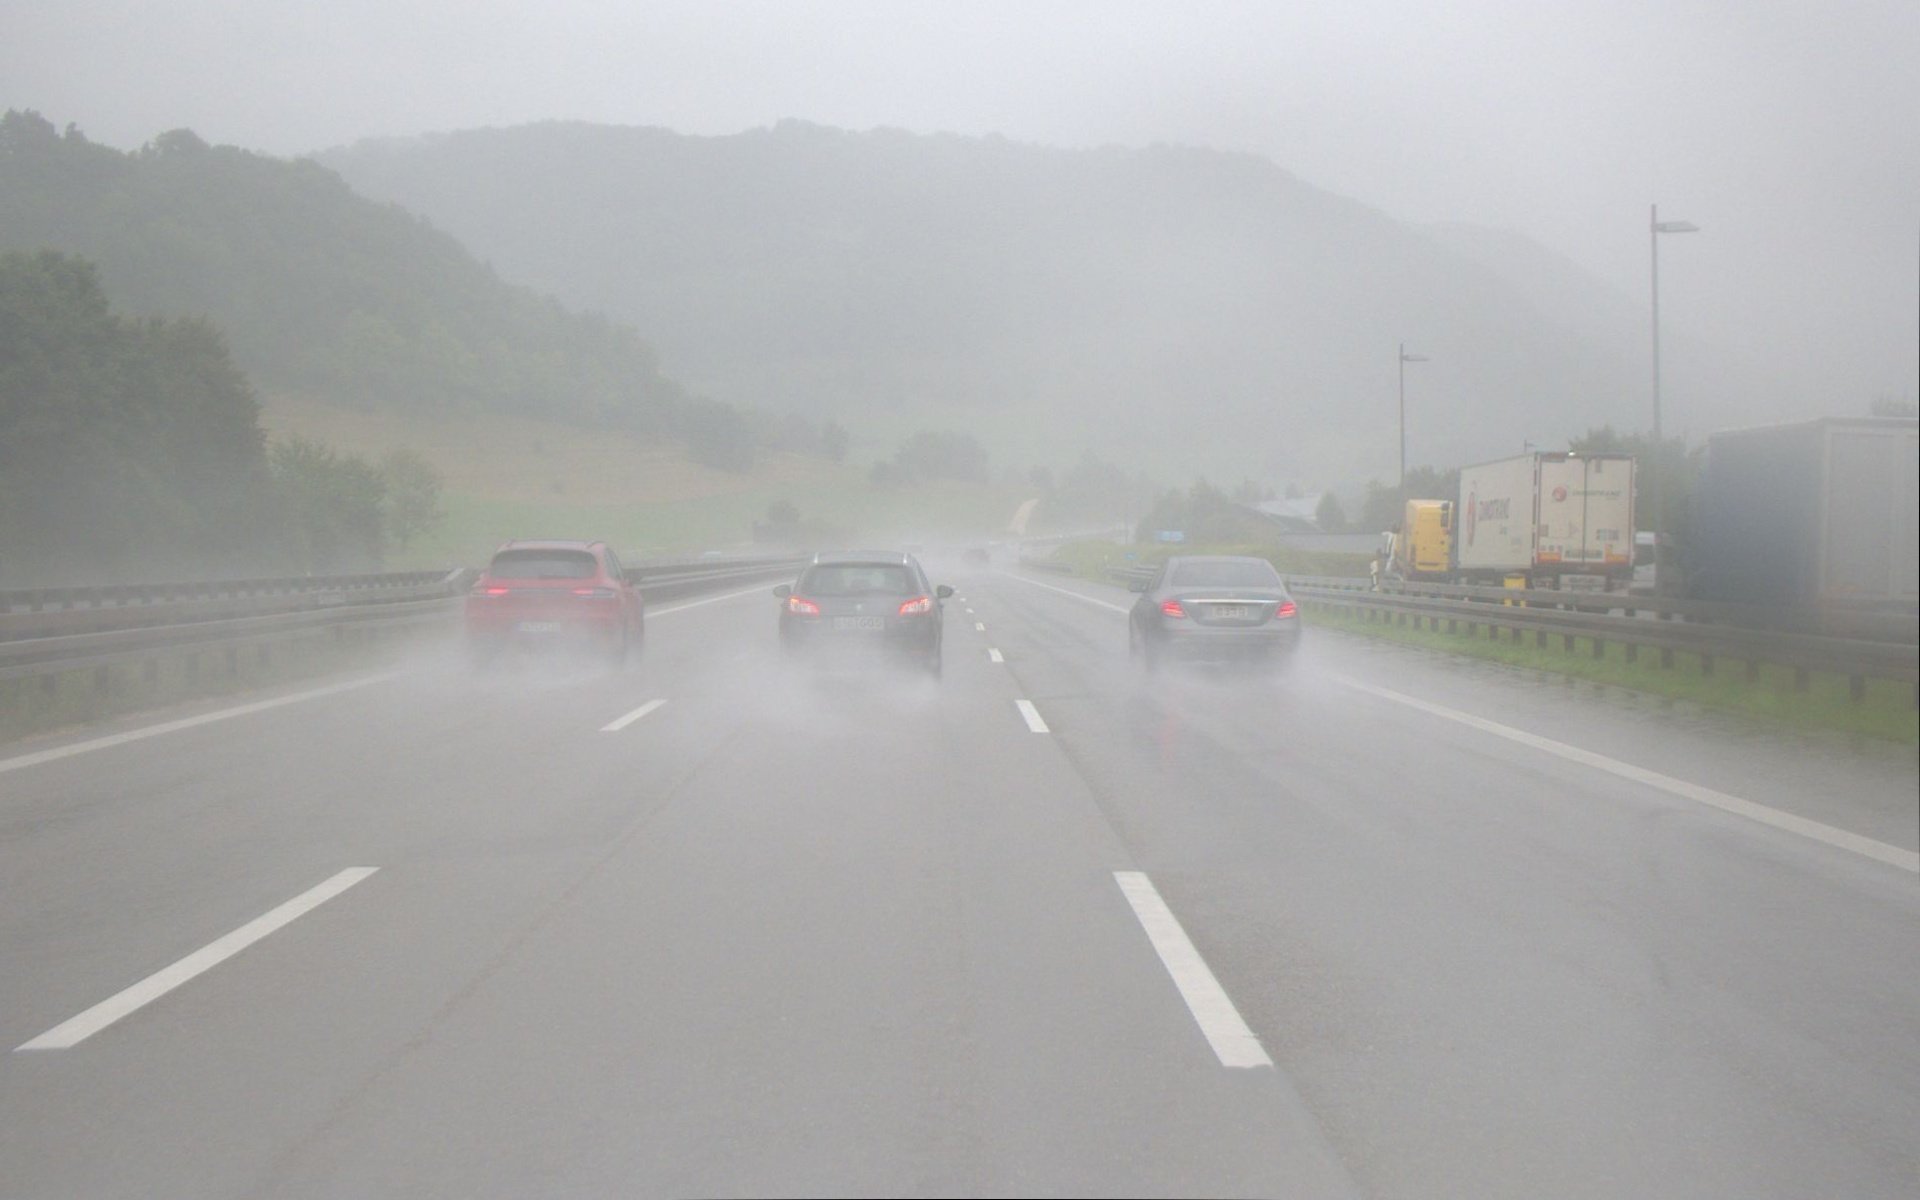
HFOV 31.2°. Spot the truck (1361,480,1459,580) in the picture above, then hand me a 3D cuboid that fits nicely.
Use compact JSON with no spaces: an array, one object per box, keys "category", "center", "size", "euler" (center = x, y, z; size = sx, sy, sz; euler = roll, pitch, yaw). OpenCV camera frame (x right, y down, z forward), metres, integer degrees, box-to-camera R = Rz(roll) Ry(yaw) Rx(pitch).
[{"category":"truck","center":[14.881,-2.277,114.150],"size":[2.291,3.136,8.863],"euler":[1,1,2]}]

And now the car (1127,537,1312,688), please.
[{"category":"car","center":[3.135,0.105,42.261],"size":[1.971,1.754,4.000],"euler":[0,1,0]}]

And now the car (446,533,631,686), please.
[{"category":"car","center":[-5.201,0.071,42.872],"size":[1.884,1.809,4.000],"euler":[0,1,-1]}]

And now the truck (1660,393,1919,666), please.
[{"category":"truck","center":[15.395,-1.237,61.479],"size":[3.401,4.387,11.049],"euler":[1,1,0]}]

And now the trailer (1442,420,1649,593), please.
[{"category":"trailer","center":[15.429,-2.407,91.650],"size":[3.516,4.247,11.920],"euler":[1,1,1]}]

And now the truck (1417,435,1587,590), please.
[{"category":"truck","center":[15.448,-2.470,98.651],"size":[3.527,4.205,7.817],"euler":[1,1,0]}]

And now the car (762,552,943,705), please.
[{"category":"car","center":[-1.146,0.276,38.224],"size":[1.859,1.584,4.000],"euler":[1,1,0]}]
